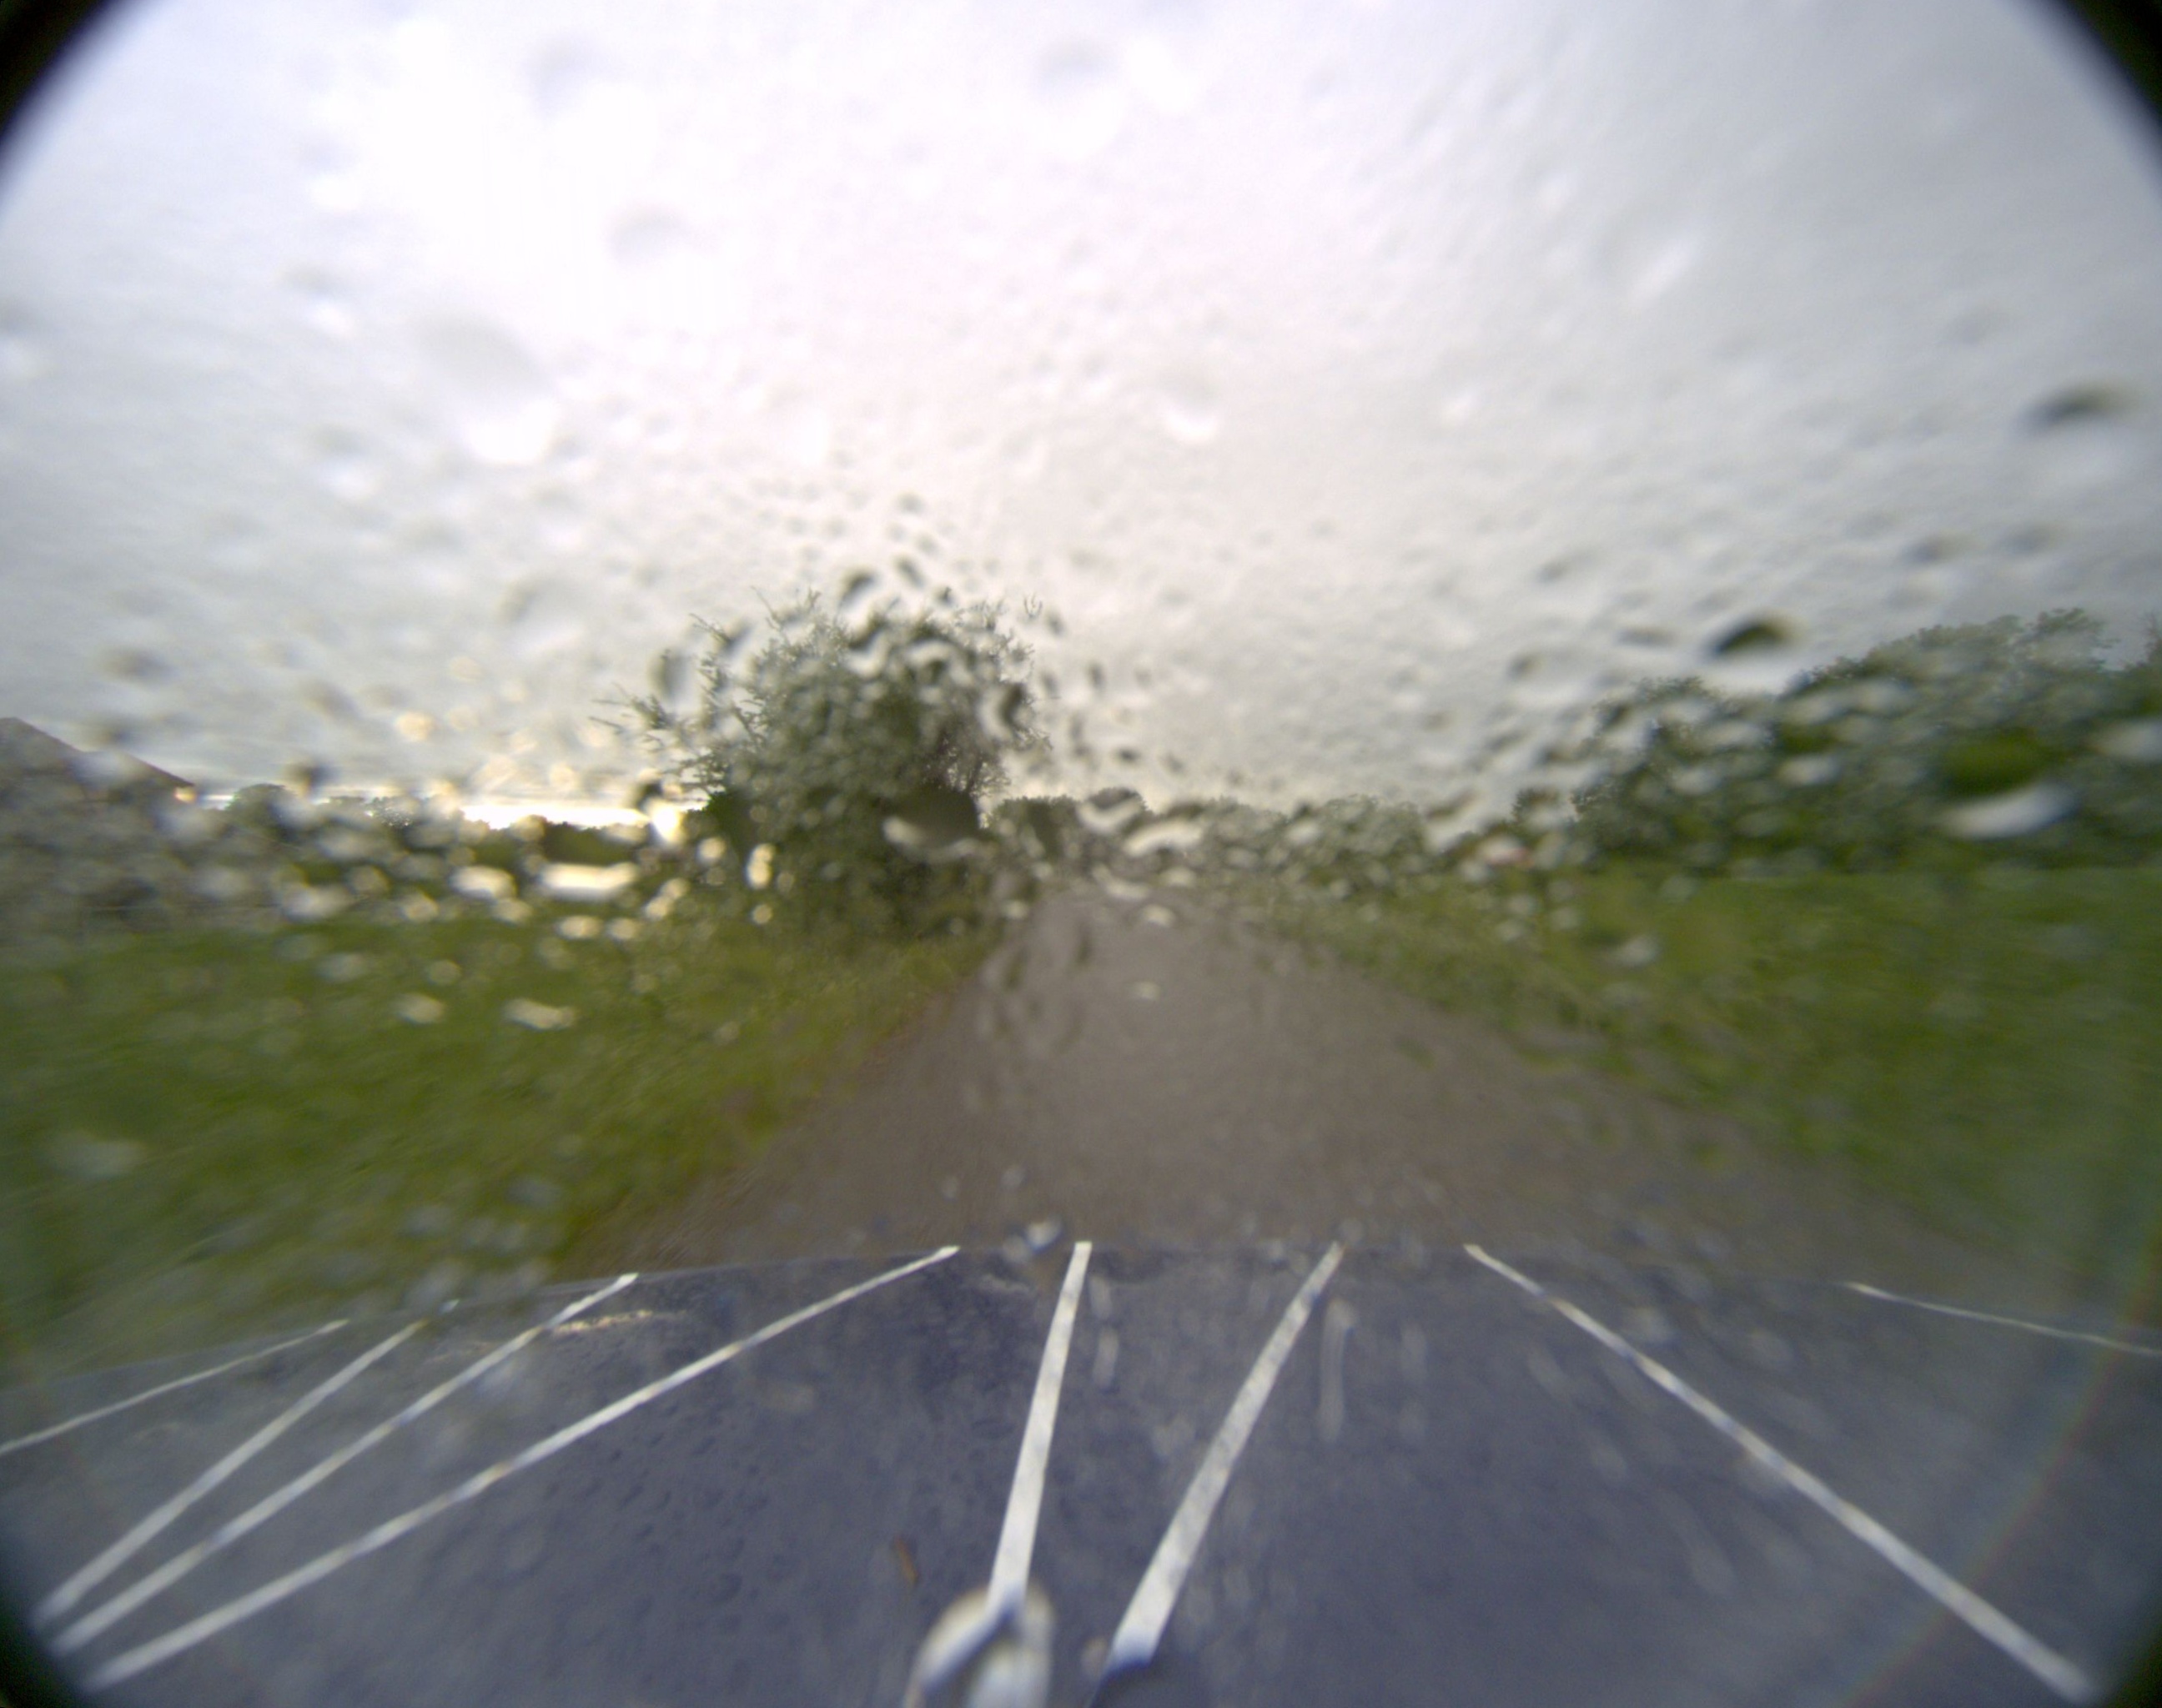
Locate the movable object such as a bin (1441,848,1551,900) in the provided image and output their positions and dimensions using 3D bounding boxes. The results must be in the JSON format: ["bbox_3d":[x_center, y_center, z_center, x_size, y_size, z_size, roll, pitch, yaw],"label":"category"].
[{"bbox_3d":[13.836,0.639,25.571,1.683,1.561,3.538,-3,0,-1],"label":"movable object such as a bin"}]
